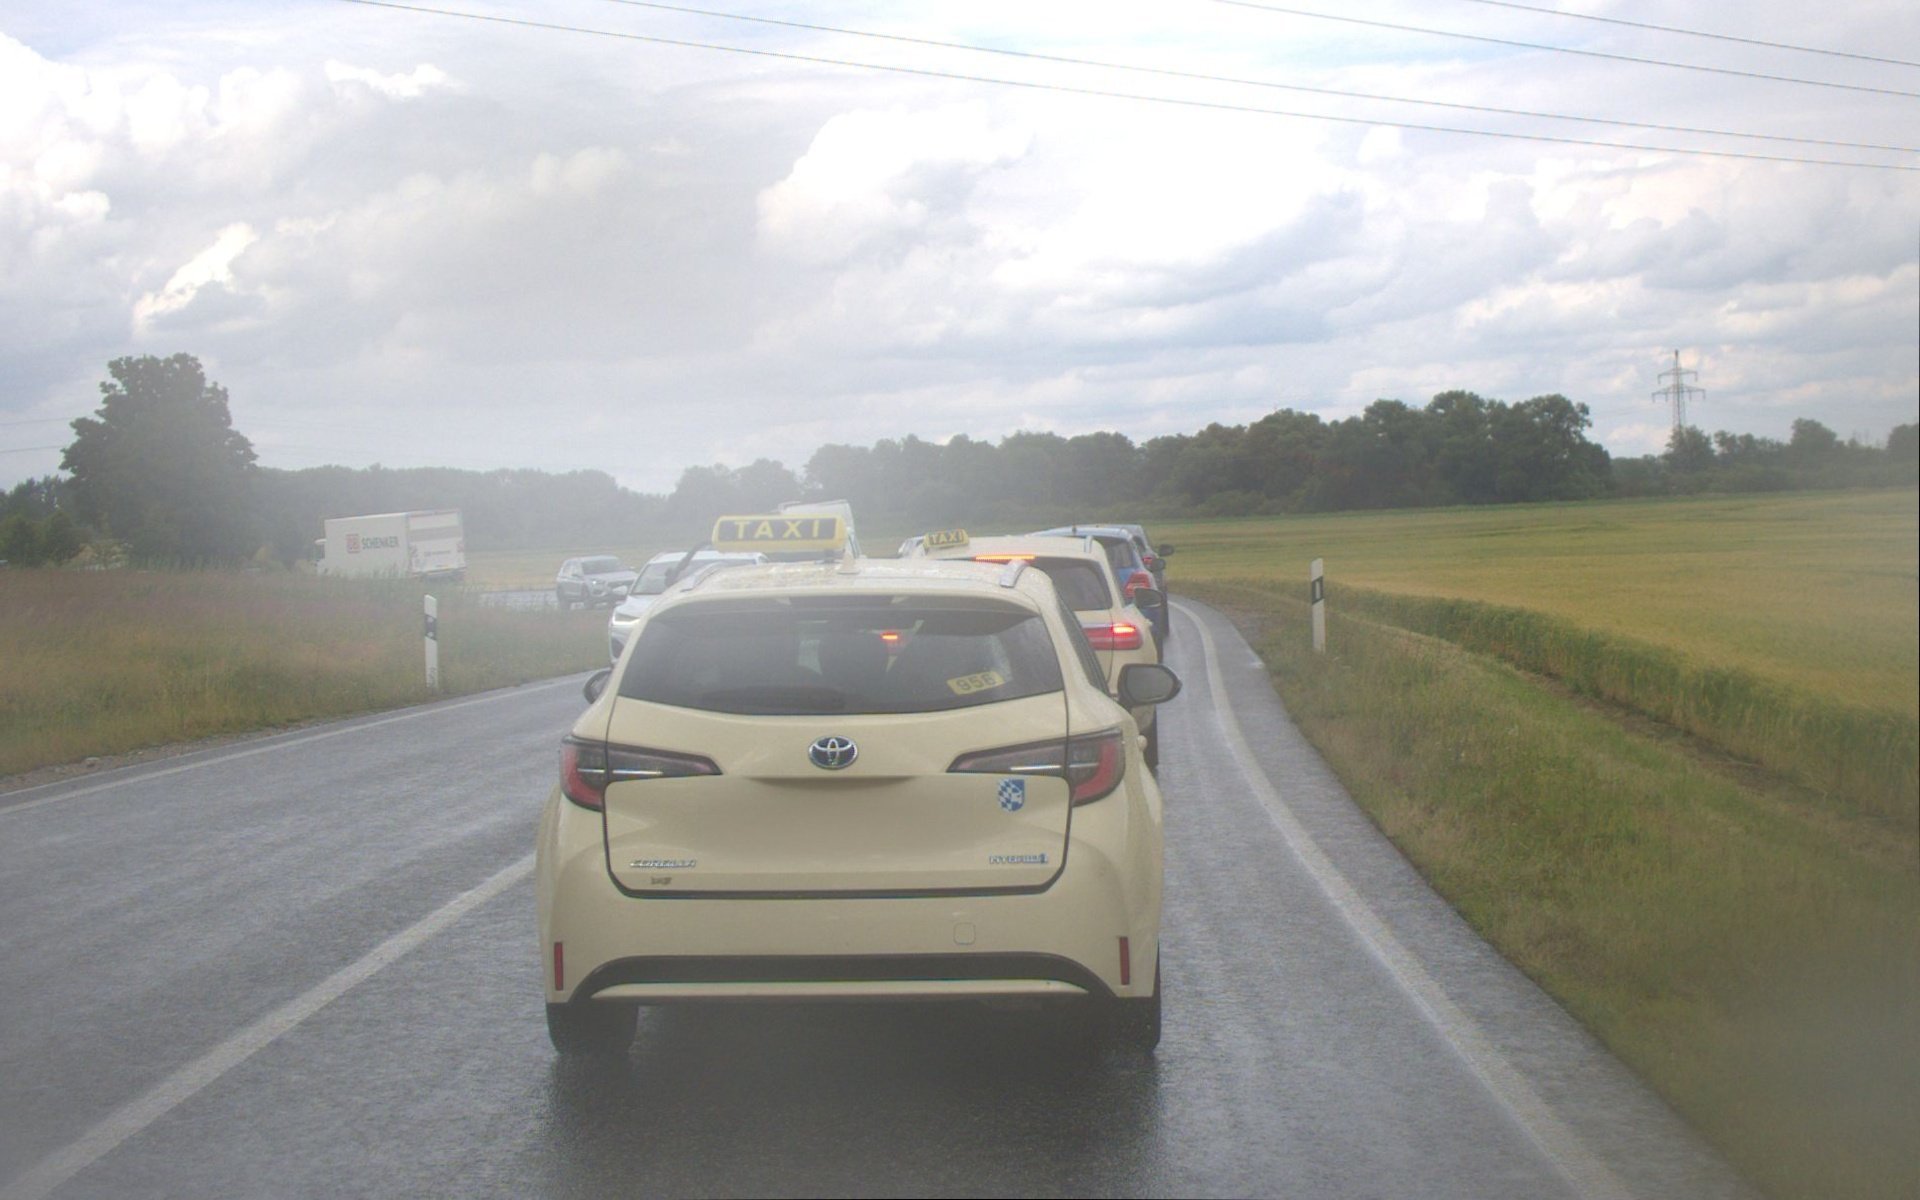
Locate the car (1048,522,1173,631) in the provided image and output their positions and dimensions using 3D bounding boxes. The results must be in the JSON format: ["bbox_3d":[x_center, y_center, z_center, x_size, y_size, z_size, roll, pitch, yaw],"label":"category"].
[{"bbox_3d":[2.038,-0.293,46.474,1.613,1.408,3.738,0,0,3],"label":"car"}]

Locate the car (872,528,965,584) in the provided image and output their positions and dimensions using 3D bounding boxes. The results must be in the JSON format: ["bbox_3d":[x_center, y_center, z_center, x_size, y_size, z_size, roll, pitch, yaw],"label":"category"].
[{"bbox_3d":[-1.117,-1.163,91.552,1.783,1.408,3.739,1,0,-12],"label":"car"}]

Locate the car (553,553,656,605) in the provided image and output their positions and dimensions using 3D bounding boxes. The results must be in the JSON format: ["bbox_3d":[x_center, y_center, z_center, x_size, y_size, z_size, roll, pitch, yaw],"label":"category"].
[{"bbox_3d":[-11.527,-0.678,111.133,1.928,1.626,4.721,-1,1,-24],"label":"car"}]

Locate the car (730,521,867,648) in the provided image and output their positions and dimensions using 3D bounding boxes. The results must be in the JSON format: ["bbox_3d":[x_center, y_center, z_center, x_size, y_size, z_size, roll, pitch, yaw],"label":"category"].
[{"bbox_3d":[-2.427,-0.241,52.530,1.844,1.849,4.447,0,0,0],"label":"car"}]

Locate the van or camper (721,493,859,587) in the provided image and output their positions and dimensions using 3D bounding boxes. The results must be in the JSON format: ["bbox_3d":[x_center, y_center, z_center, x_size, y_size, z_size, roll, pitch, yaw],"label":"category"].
[{"bbox_3d":[-5.426,-1.881,108.567,2.536,2.886,6.745,0,1,-19],"label":"van or camper"}]

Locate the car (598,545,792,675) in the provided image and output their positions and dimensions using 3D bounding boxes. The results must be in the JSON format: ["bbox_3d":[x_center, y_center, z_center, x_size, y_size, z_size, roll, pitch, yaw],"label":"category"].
[{"bbox_3d":[-2.959,0.092,39.151,1.844,1.383,4.287,0,0,0],"label":"car"}]

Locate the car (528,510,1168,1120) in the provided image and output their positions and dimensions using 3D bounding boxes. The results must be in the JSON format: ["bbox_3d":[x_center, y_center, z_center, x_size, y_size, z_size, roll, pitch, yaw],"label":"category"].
[{"bbox_3d":[-0.182,0.562,10.749,1.613,1.557,3.738,0,0,4],"label":"car"}]

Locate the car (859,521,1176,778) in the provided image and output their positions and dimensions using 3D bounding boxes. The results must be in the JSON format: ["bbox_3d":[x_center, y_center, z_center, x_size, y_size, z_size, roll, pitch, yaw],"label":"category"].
[{"bbox_3d":[0.395,0.254,22.396,1.841,1.487,4.608,0,1,1],"label":"car"}]

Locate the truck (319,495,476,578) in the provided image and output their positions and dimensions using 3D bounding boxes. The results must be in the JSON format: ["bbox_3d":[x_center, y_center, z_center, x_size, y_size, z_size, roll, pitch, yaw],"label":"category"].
[{"bbox_3d":[-22.907,-2.526,139.700,3.014,3.198,8.231,1,0,-35],"label":"truck"}]

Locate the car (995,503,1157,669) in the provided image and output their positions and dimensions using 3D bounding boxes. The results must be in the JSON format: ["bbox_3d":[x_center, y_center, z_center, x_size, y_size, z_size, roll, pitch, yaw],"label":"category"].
[{"bbox_3d":[1.226,-0.128,36.301,1.613,1.653,3.738,0,0,2],"label":"car"}]
